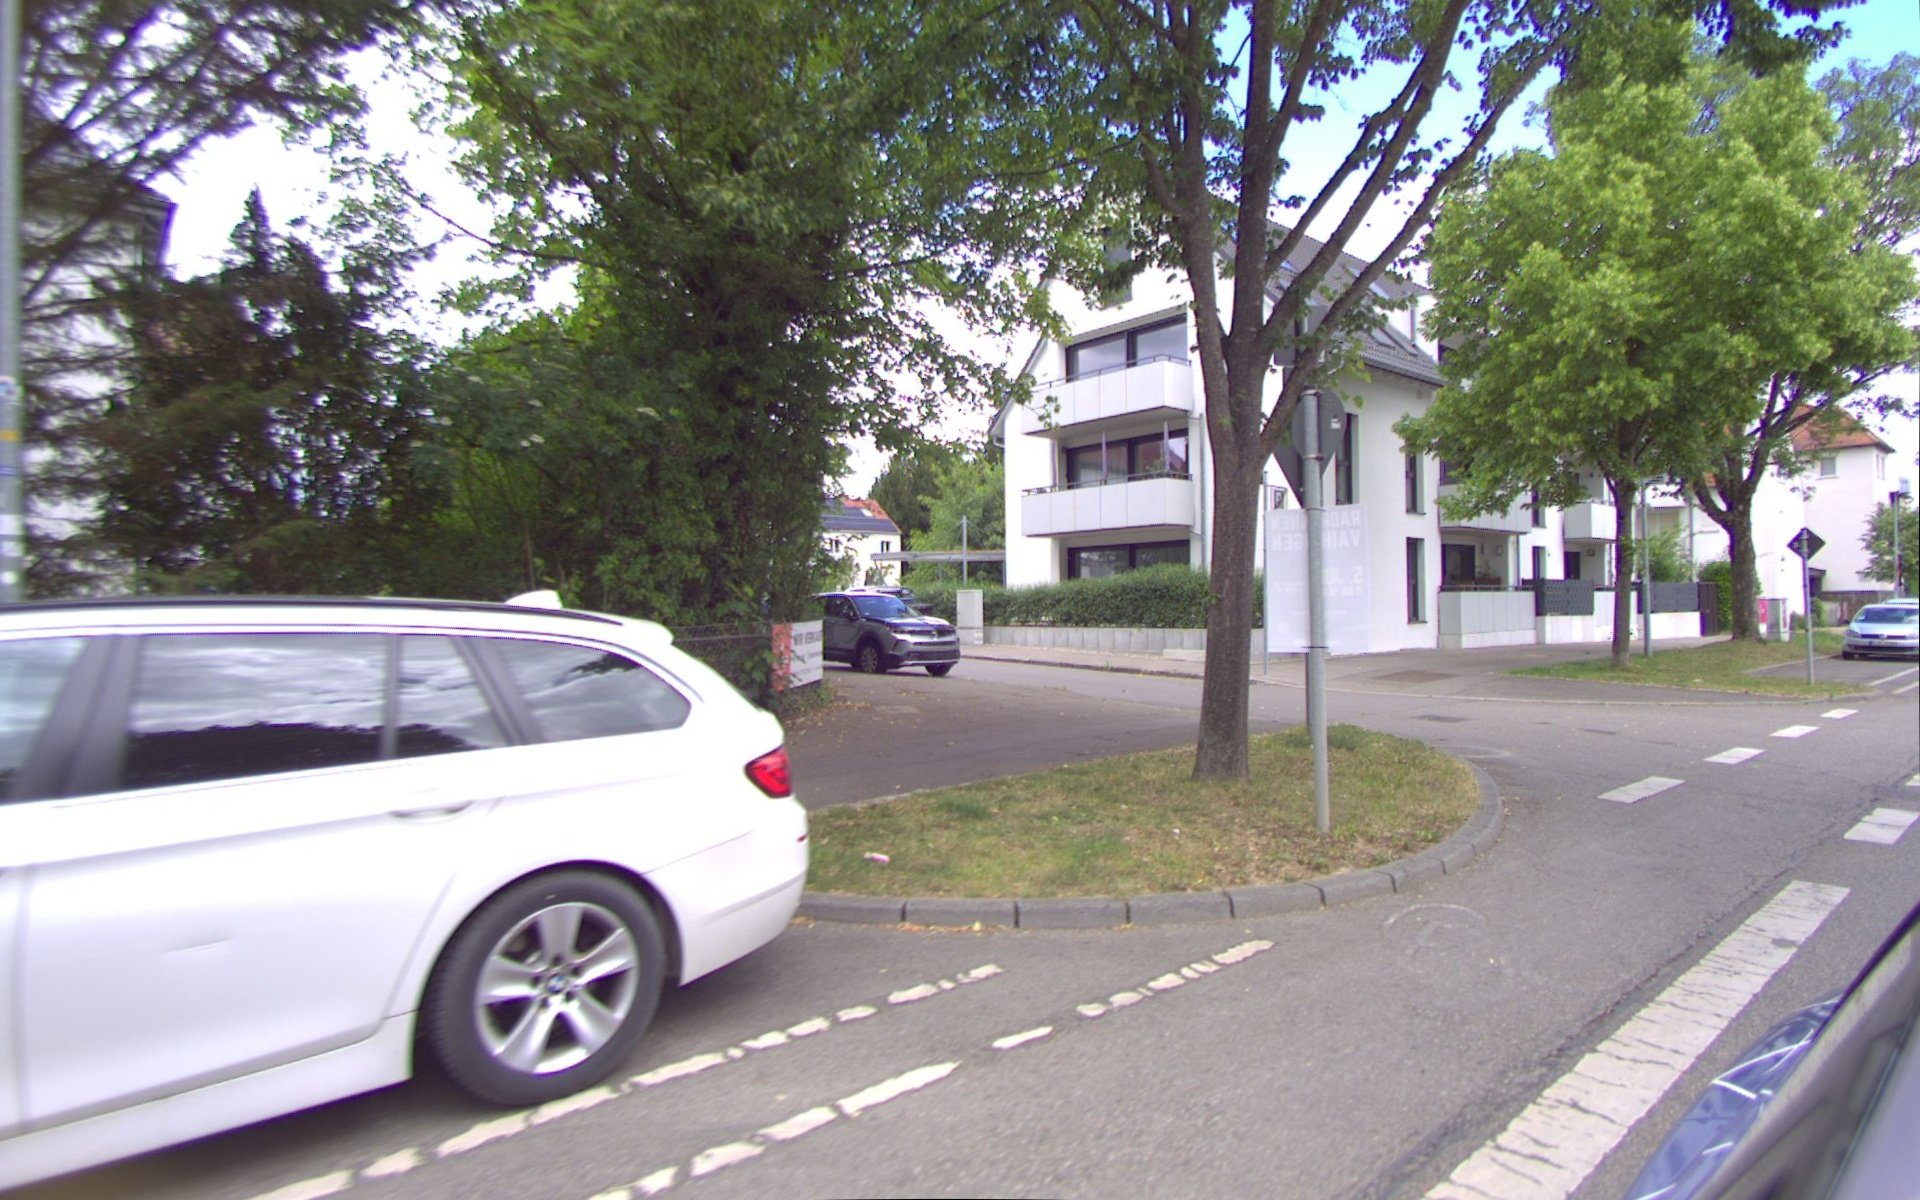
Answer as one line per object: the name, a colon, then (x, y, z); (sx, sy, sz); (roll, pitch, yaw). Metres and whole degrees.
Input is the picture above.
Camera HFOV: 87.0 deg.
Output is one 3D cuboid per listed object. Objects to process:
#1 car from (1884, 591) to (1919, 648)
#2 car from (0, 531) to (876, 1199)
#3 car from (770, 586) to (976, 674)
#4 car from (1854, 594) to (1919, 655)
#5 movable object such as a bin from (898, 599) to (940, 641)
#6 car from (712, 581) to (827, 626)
car: (29.768, 0.558, 31.072); (3.583, 1.686, 1.635); (0, 0, -40)
car: (-2.827, 0.589, 2.824); (4.936, 1.462, 2.024); (0, 0, -40)
car: (-1.717, 0.509, 19.032); (1.763, 1.478, 3.990); (1, -1, -43)
car: (25.176, 0.609, 26.841); (4.153, 1.512, 1.690); (0, 0, -41)
movable object such as a bin: (-1.111, 0.522, 27.596); (0.715, 1.106, 0.976); (-1, 0, -36)
car: (-7.542, 0.128, 40.213); (4.109, 1.670, 1.995); (0, 0, -45)
